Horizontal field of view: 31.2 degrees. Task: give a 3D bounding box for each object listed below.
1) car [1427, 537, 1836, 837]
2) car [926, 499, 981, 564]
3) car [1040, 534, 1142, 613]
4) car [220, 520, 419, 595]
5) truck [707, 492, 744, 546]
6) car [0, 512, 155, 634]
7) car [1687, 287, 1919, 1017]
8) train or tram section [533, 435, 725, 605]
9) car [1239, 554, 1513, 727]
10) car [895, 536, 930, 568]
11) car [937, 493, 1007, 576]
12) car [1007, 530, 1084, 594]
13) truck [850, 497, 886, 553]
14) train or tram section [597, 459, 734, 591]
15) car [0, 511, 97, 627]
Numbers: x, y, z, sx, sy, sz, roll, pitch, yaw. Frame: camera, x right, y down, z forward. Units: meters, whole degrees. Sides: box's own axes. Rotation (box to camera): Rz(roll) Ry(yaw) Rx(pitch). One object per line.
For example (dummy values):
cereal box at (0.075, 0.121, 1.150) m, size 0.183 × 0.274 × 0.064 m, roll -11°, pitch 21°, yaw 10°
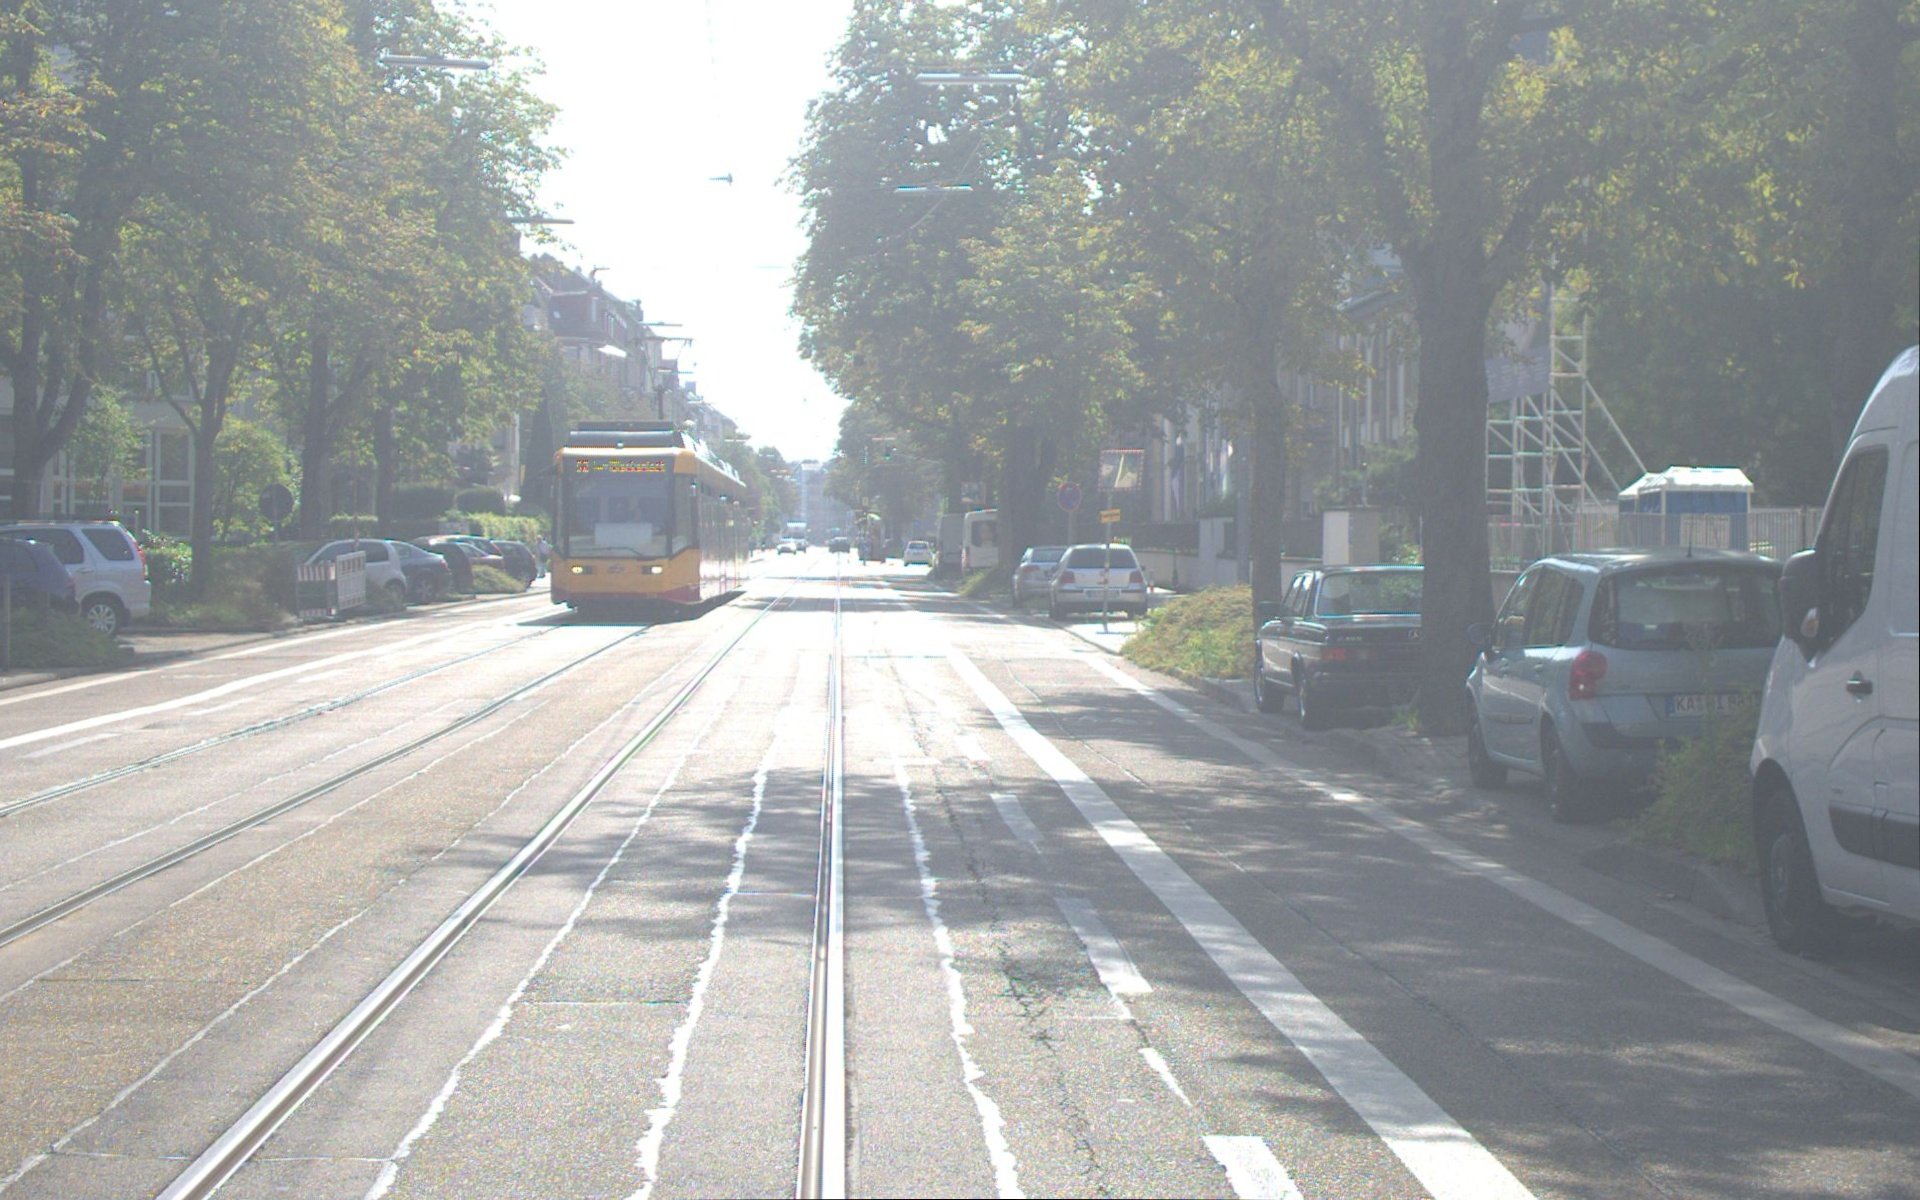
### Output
car at (4.033, 0.450, 21.223) m, size 1.664 × 1.611 × 3.877 m, roll -1°, pitch 2°, yaw -1°
car at (-0.269, -2.645, 132.882) m, size 2.004 × 2.466 × 4.477 m, roll 0°, pitch 1°, yaw -1°
car at (2.428, -0.511, 64.410) m, size 1.689 × 1.413 × 3.634 m, roll 0°, pitch 1°, yaw -1°
car at (-12.618, -0.848, 67.849) m, size 1.569 × 1.438 × 3.755 m, roll 1°, pitch 1°, yaw 38°
truck at (-13.254, -4.583, 194.704) m, size 1.993 × 2.965 × 4.571 m, roll 0°, pitch 1°, yaw -2°
car at (-13.011, -0.384, 46.503) m, size 1.743 × 1.616 × 3.786 m, roll 2°, pitch 2°, yaw 44°
car at (4.360, 0.147, 11.973) m, size 2.082 × 2.544 × 5.502 m, roll -3°, pitch 1°, yaw -3°
train or tram section at (-6.168, -1.506, 66.349) m, size 2.728 × 2.884 × 15.457 m, roll 0°, pitch 1°, yaw -2°
car at (3.688, 0.307, 31.242) m, size 1.753 × 1.373 × 4.719 m, roll -1°, pitch 1°, yaw -2°
car at (-2.754, -2.804, 199.106) m, size 1.993 × 1.831 × 4.000 m, roll 1°, pitch 1°, yaw -1°
car at (0.350, -2.041, 106.219) m, size 2.004 × 2.482 × 4.477 m, roll 1°, pitch 1°, yaw -1°
car at (1.921, -0.881, 78.136) m, size 1.594 × 1.413 × 3.634 m, roll 0°, pitch 1°, yaw -1°
truck at (-5.232, -4.248, 194.800) m, size 1.860 × 3.120 × 4.353 m, roll 0°, pitch 1°, yaw -4°
train or tram section at (-6.554, -1.678, 77.368) m, size 2.728 × 2.839 × 6.544 m, roll 0°, pitch 1°, yaw -2°
car at (-12.916, -0.398, 42.989) m, size 3.785 × 1.437 × 1.693 m, roll -1°, pitch 2°, yaw -44°
